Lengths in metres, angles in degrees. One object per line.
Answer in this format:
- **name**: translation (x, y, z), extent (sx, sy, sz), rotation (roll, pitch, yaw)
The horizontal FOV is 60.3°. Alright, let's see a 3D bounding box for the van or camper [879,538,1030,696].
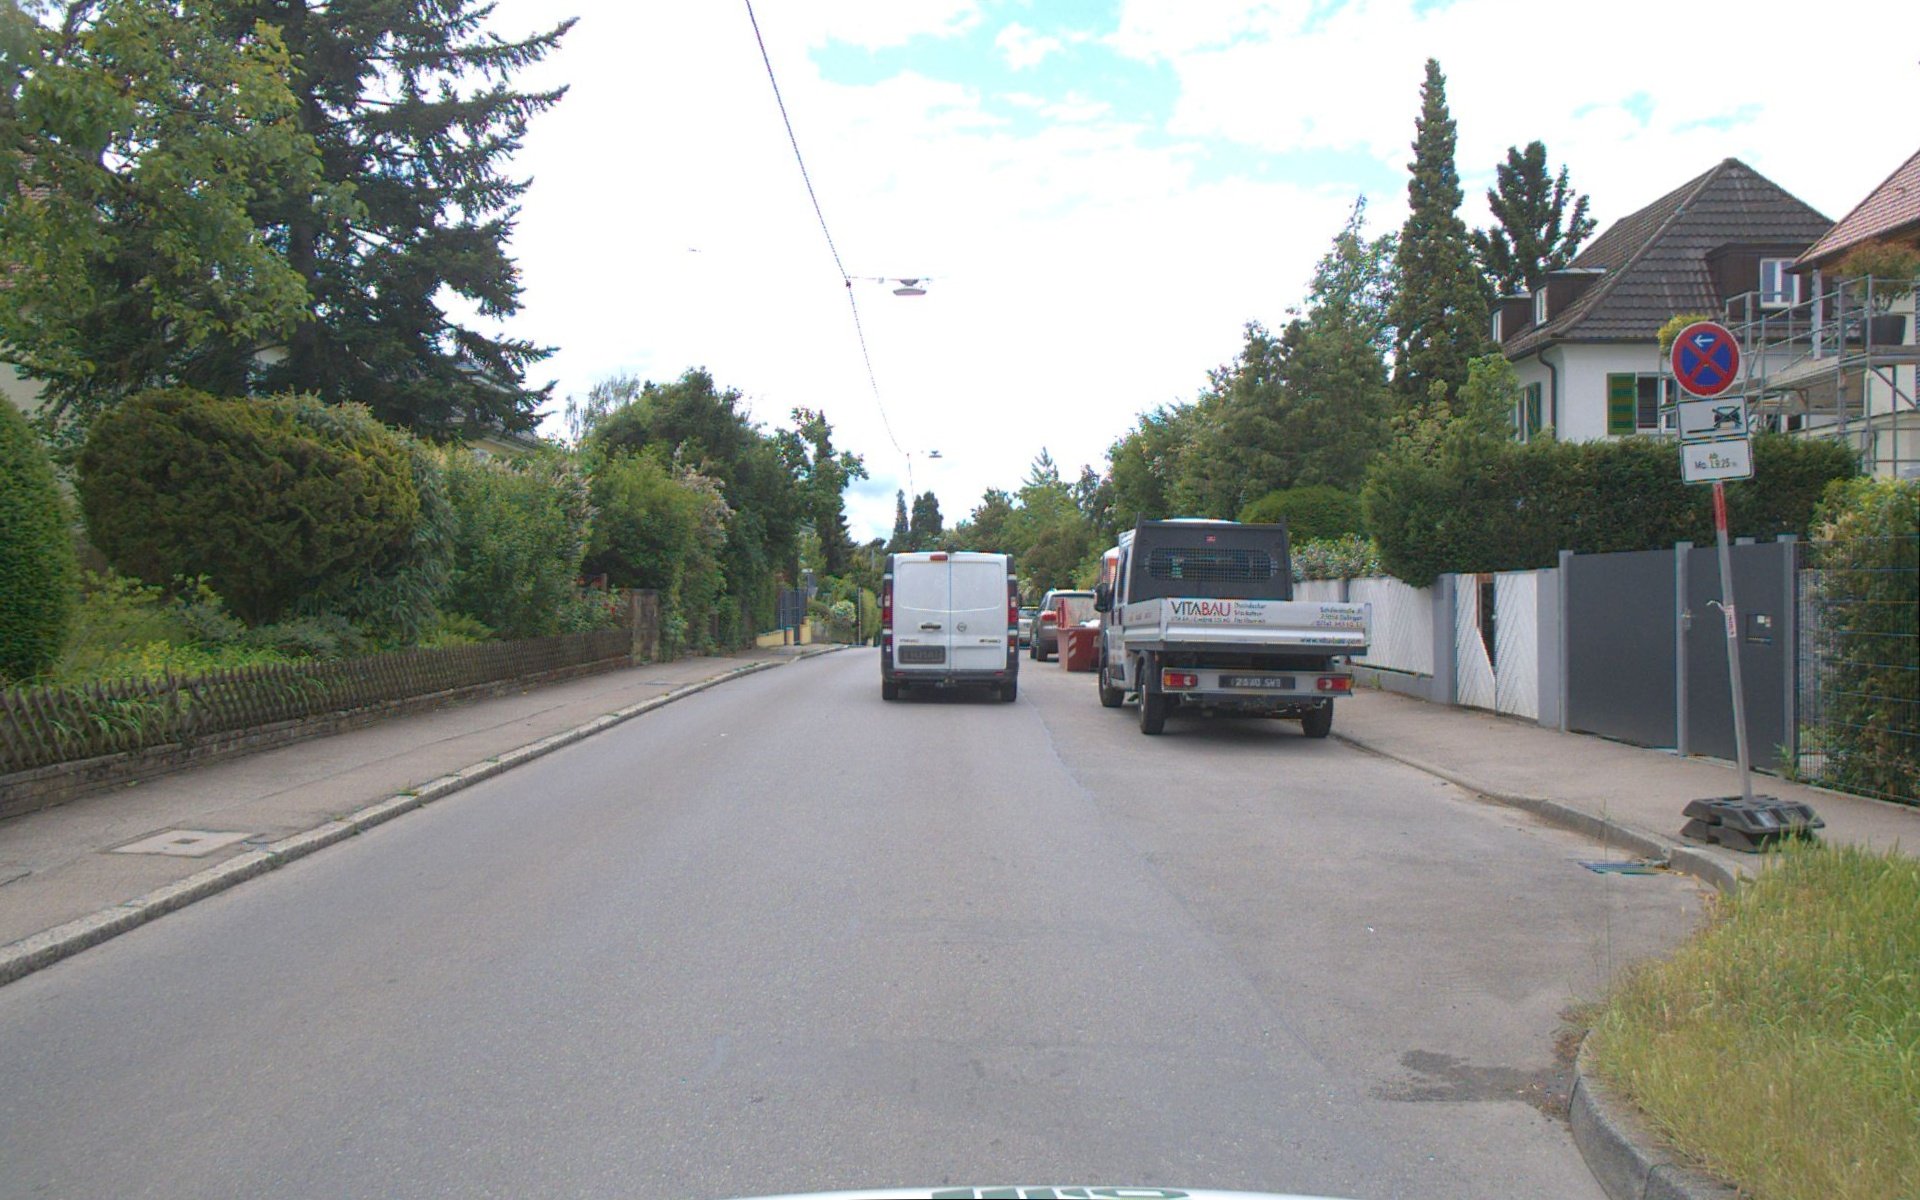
- **van or camper**: translation (-0.115, 0.263, 23.421), extent (1.900, 1.988, 4.763), rotation (1, -1, -1)

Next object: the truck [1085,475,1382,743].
- **truck**: translation (2.886, 0.084, 19.448), extent (2.143, 2.515, 7.429), rotation (1, 0, -1)

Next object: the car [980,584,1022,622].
- **car**: translation (1.844, 0.138, 75.345), extent (1.709, 1.658, 4.258), rotation (-1, 0, -1)

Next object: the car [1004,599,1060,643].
- **car**: translation (2.514, 0.738, 58.571), extent (1.709, 1.472, 4.258), rotation (-1, 0, -1)

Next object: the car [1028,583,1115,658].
- **car**: translation (2.650, 0.483, 40.030), extent (1.709, 1.704, 4.183), rotation (-1, 0, -1)
